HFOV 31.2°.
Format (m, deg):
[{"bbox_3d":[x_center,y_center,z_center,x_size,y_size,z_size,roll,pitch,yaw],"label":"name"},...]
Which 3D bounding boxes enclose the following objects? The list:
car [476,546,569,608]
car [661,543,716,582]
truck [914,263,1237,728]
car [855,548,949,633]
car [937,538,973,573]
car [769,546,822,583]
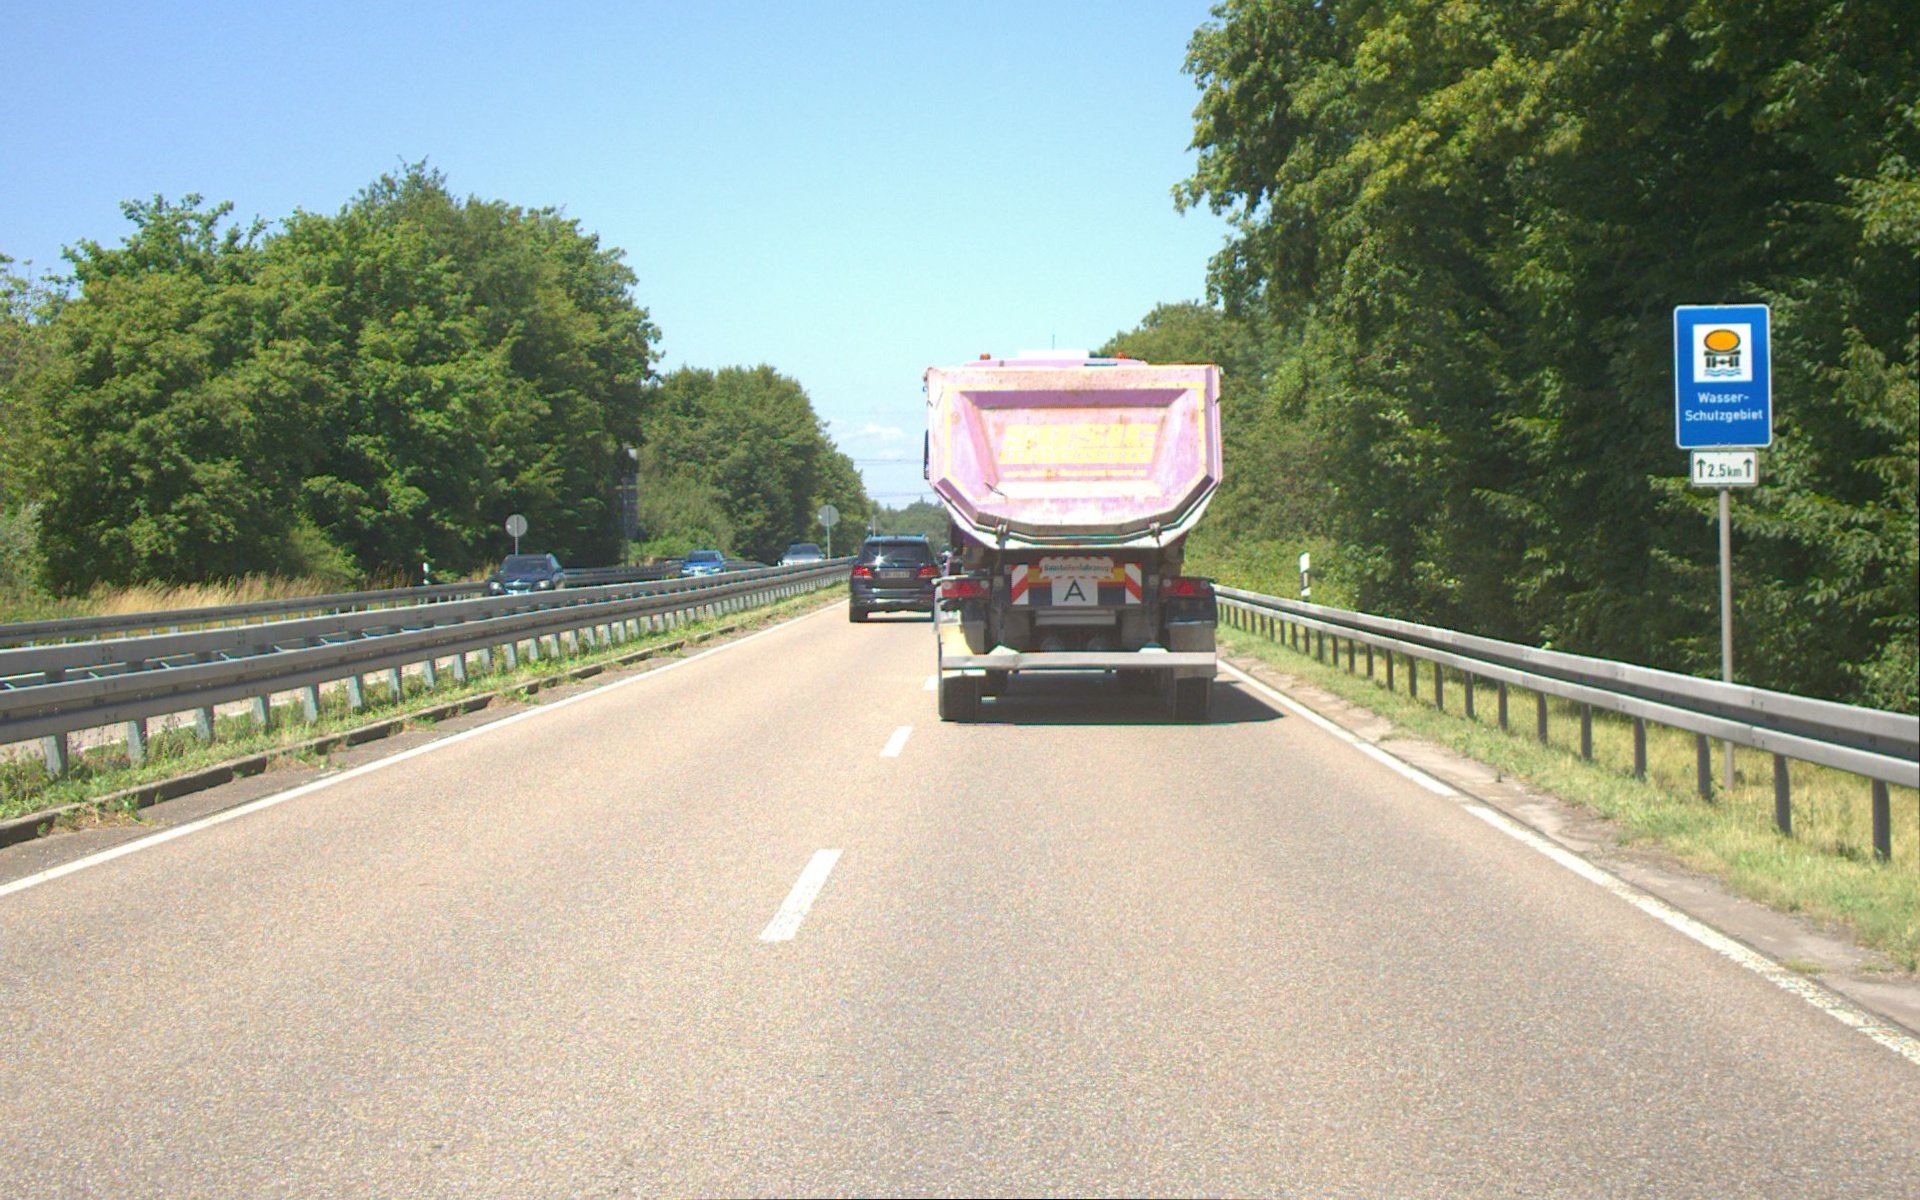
[{"bbox_3d":[-12.049,-0.651,94.934,1.779,1.614,4.505,-2,1,2],"label":"car"},{"bbox_3d":[-11.583,-1.617,146.832,1.812,1.537,4.928,-2,1,1],"label":"car"},{"bbox_3d":[0.981,-0.979,35.152,2.720,3.916,12.370,0,1,0],"label":"truck"},{"bbox_3d":[-1.162,-0.173,70.702,1.857,1.666,4.000,0,-1,0],"label":"car"},{"bbox_3d":[-0.253,-2.338,182.031,1.857,1.712,4.000,0,-1,0],"label":"car"},{"bbox_3d":[-7.668,-1.691,160.884,1.994,1.626,4.552,-2,1,3],"label":"car"}]
